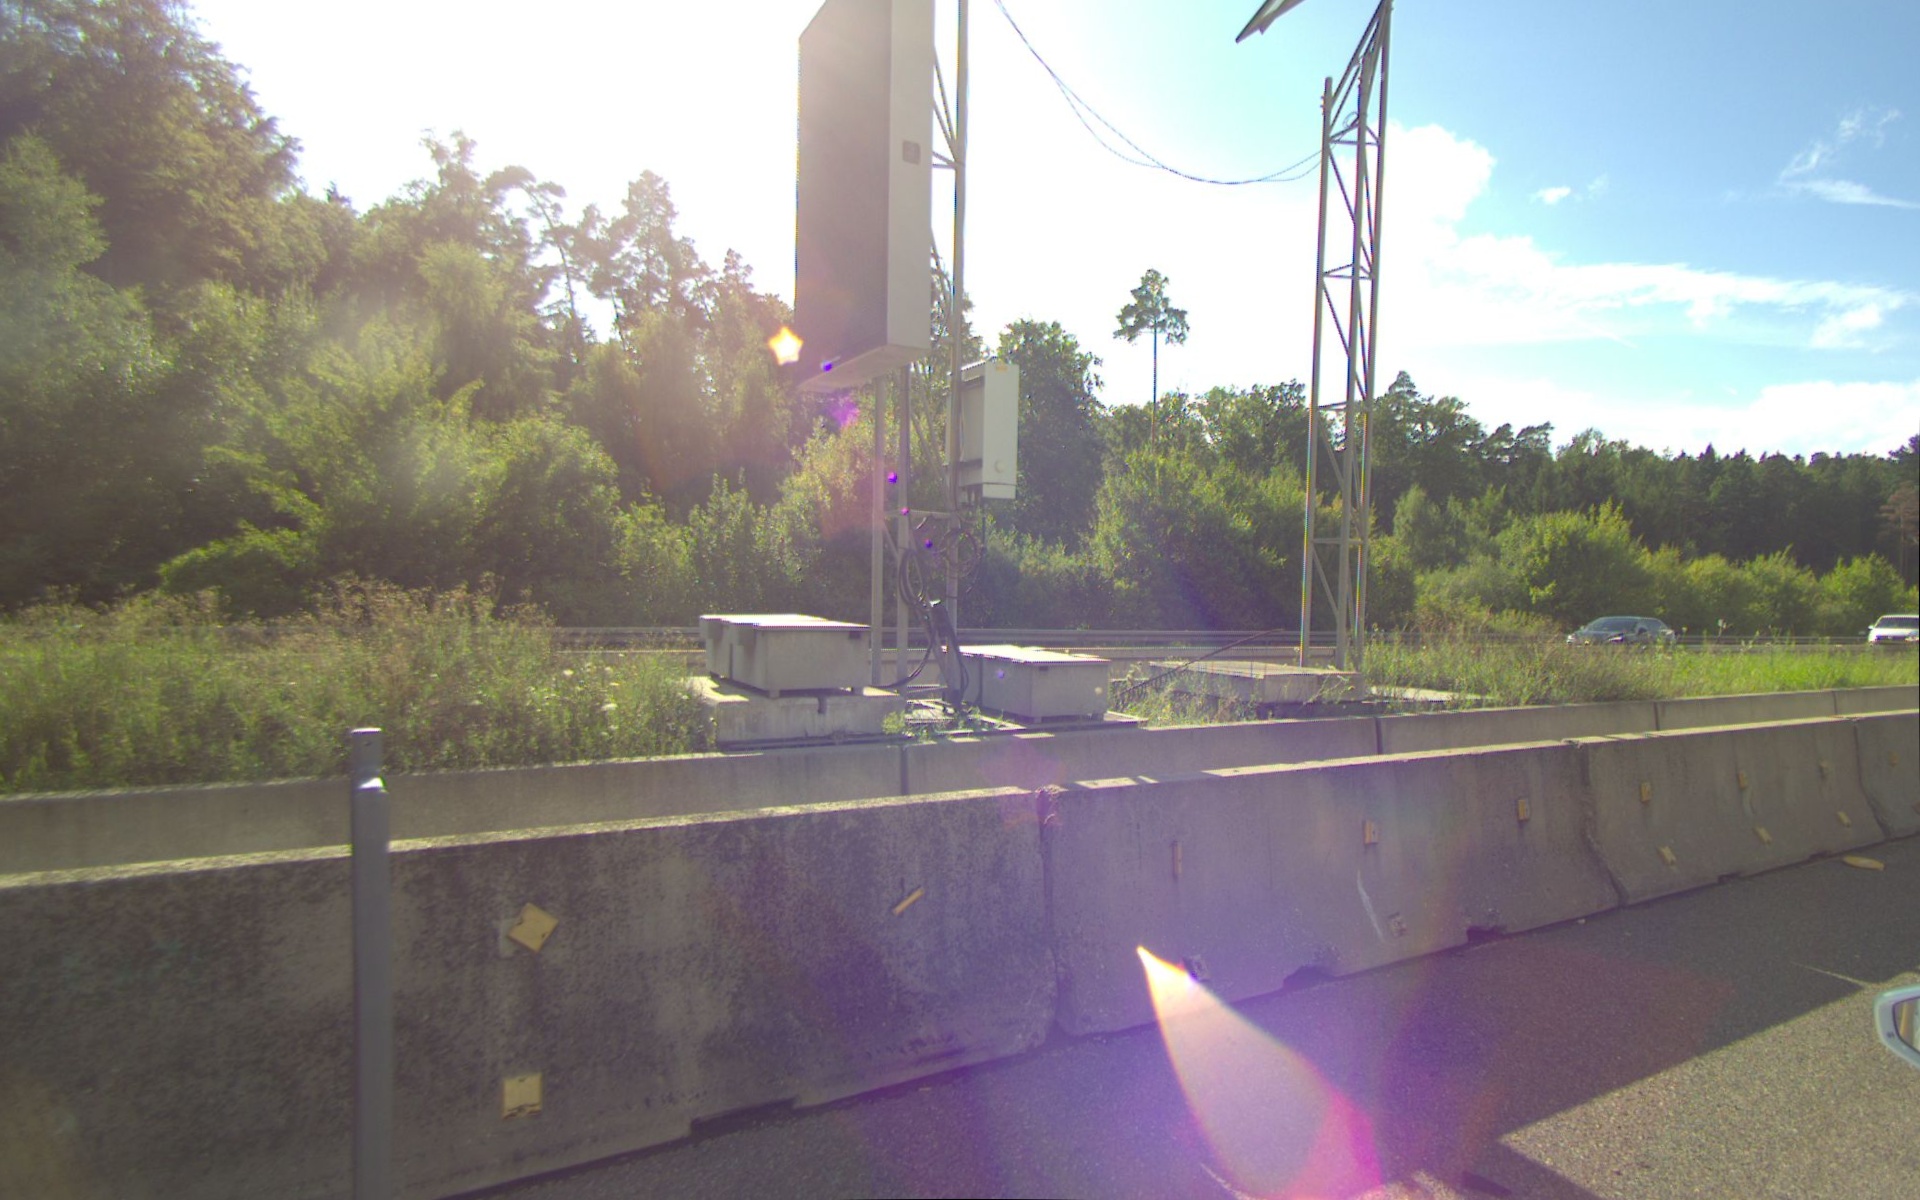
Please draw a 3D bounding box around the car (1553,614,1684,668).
[{"bbox_3d":[21.644,1.316,32.962,4.623,1.624,1.769,1,0,-31],"label":"car"}]

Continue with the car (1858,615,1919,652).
[{"bbox_3d":[44.840,1.595,47.691,4.891,1.624,1.958,1,0,-31],"label":"car"}]
